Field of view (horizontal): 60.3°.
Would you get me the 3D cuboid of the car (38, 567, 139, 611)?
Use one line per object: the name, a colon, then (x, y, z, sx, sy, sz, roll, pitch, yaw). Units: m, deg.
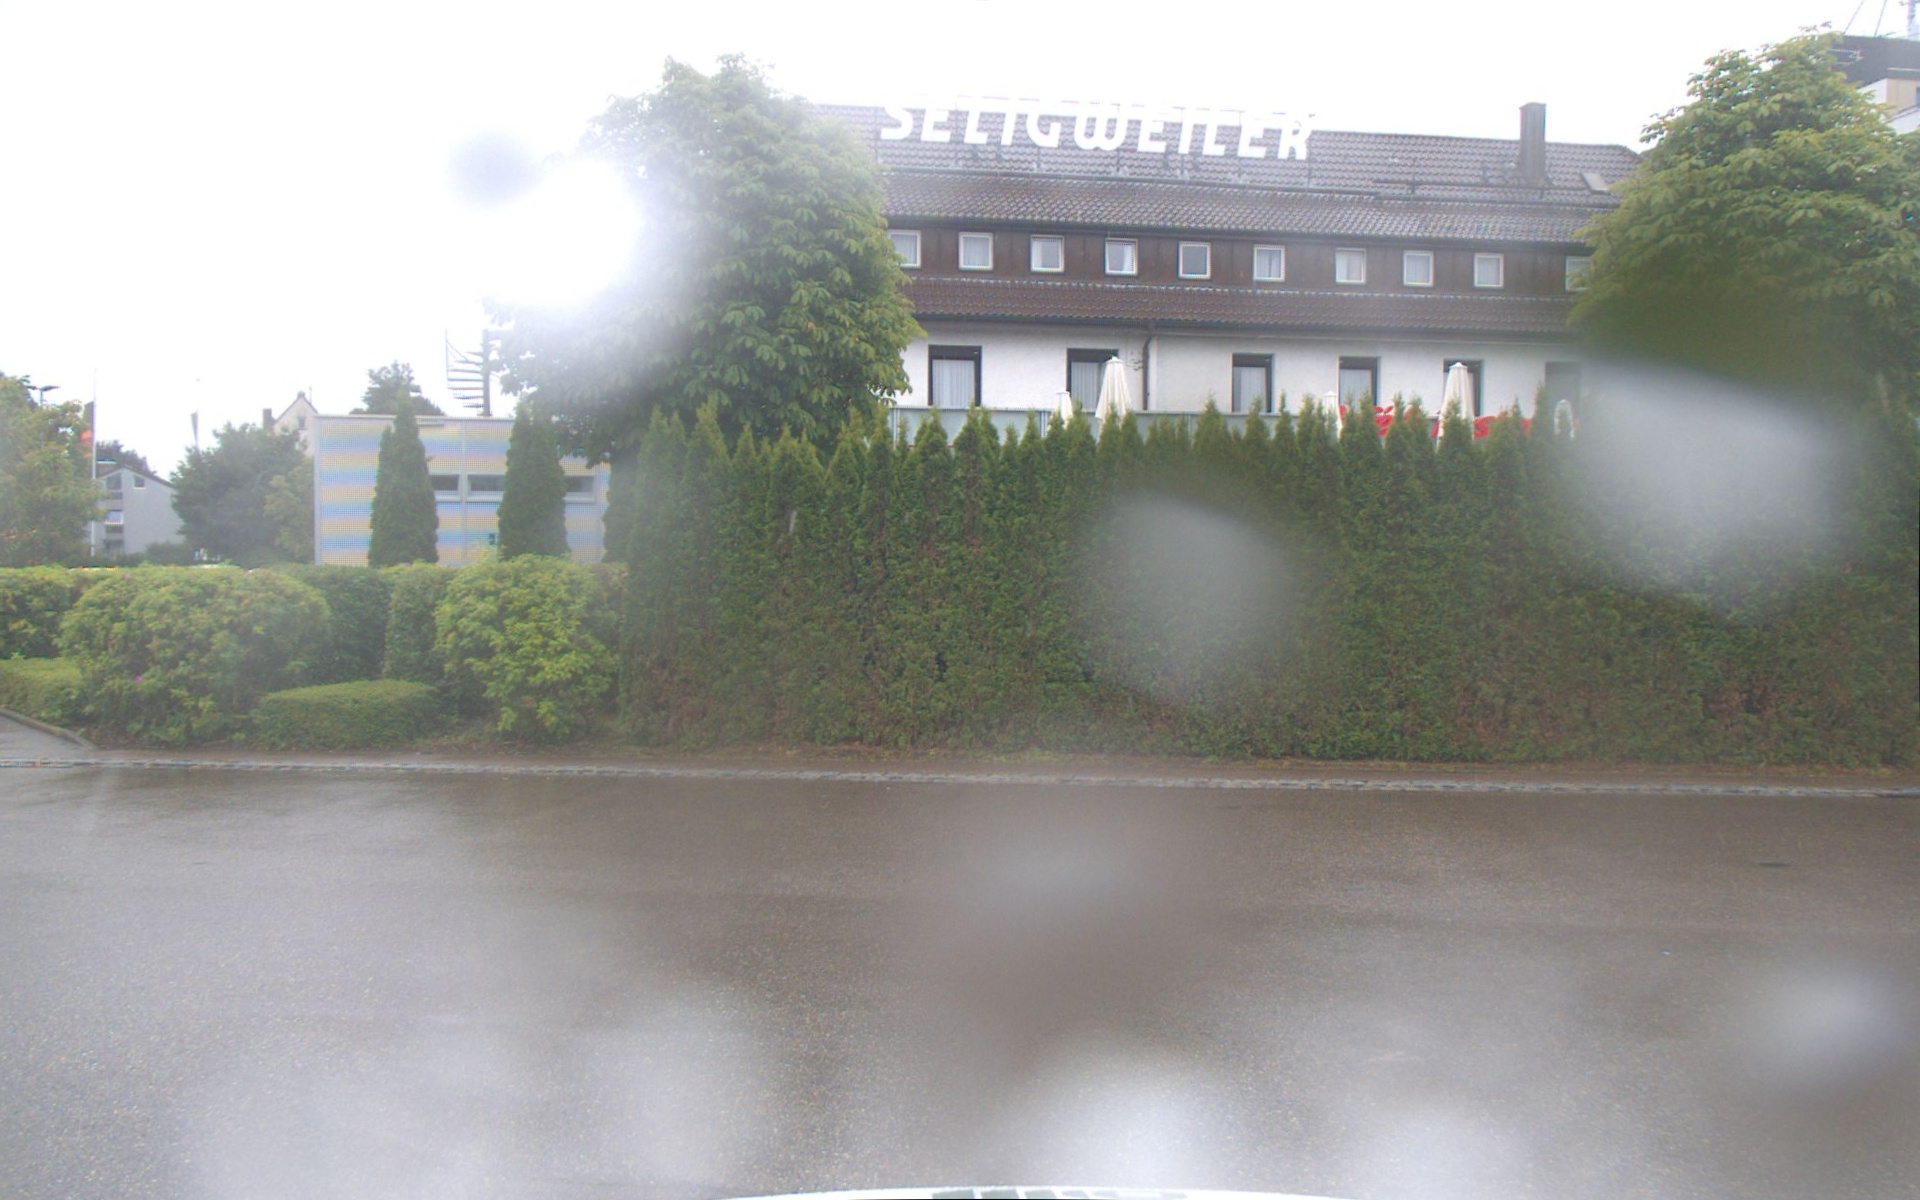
car: (-30.510, -0.388, 57.887, 3.604, 1.483, 1.581, 0, 2, 34)

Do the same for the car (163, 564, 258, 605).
car: (-28.344, -0.593, 62.525, 3.604, 1.483, 1.581, 0, 2, 34)

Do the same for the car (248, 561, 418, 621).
car: (-17.301, -0.264, 45.793, 4.100, 1.523, 1.714, -2, 2, -11)
